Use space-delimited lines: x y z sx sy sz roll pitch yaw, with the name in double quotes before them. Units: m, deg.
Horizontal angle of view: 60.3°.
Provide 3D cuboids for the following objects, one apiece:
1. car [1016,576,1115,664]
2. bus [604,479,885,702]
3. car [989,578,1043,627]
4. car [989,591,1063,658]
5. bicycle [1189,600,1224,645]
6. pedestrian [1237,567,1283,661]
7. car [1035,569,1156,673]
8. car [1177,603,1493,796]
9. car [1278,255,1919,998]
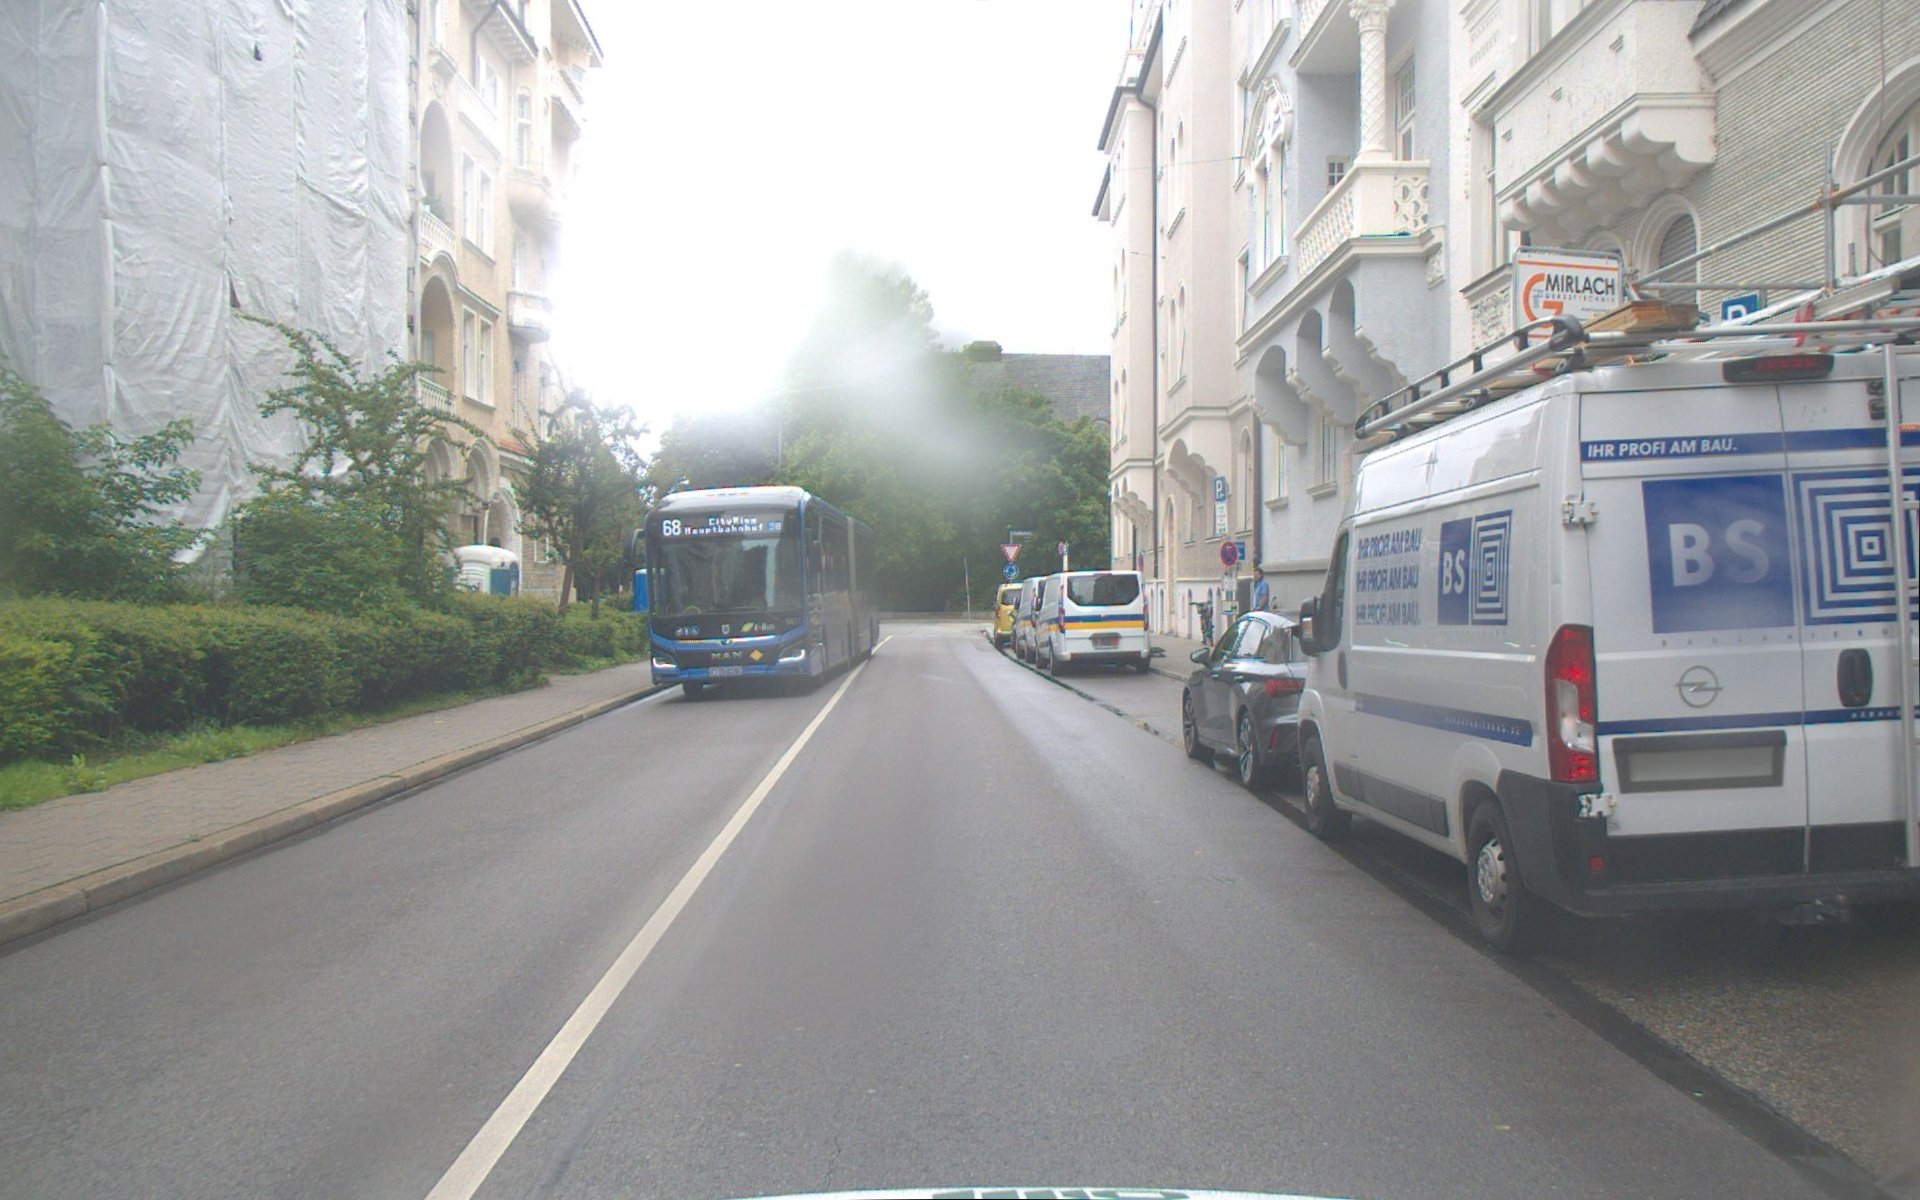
"car" 2.458 0.444 39.732 1.953 1.952 4.885 -1 0 -1
"bus" -3.665 -0.158 34.051 3.106 3.268 18.059 -2 0 1
"car" 2.308 0.084 69.409 1.899 1.955 5.373 -1 0 -2
"car" 1.980 0.718 50.808 1.953 1.952 4.570 -1 0 -1
"bicycle" 6.465 0.586 43.394 0.652 1.153 1.722 0 0 0
"pedestrian" 6.240 0.285 34.399 0.834 1.936 0.746 -1 0 2
"car" 2.666 0.398 33.730 1.953 1.952 4.877 -1 0 -1
"car" 3.128 0.761 14.684 1.752 1.432 4.243 -1 0 -1
"car" 3.304 0.082 8.910 2.034 2.735 5.444 -2 0 0
